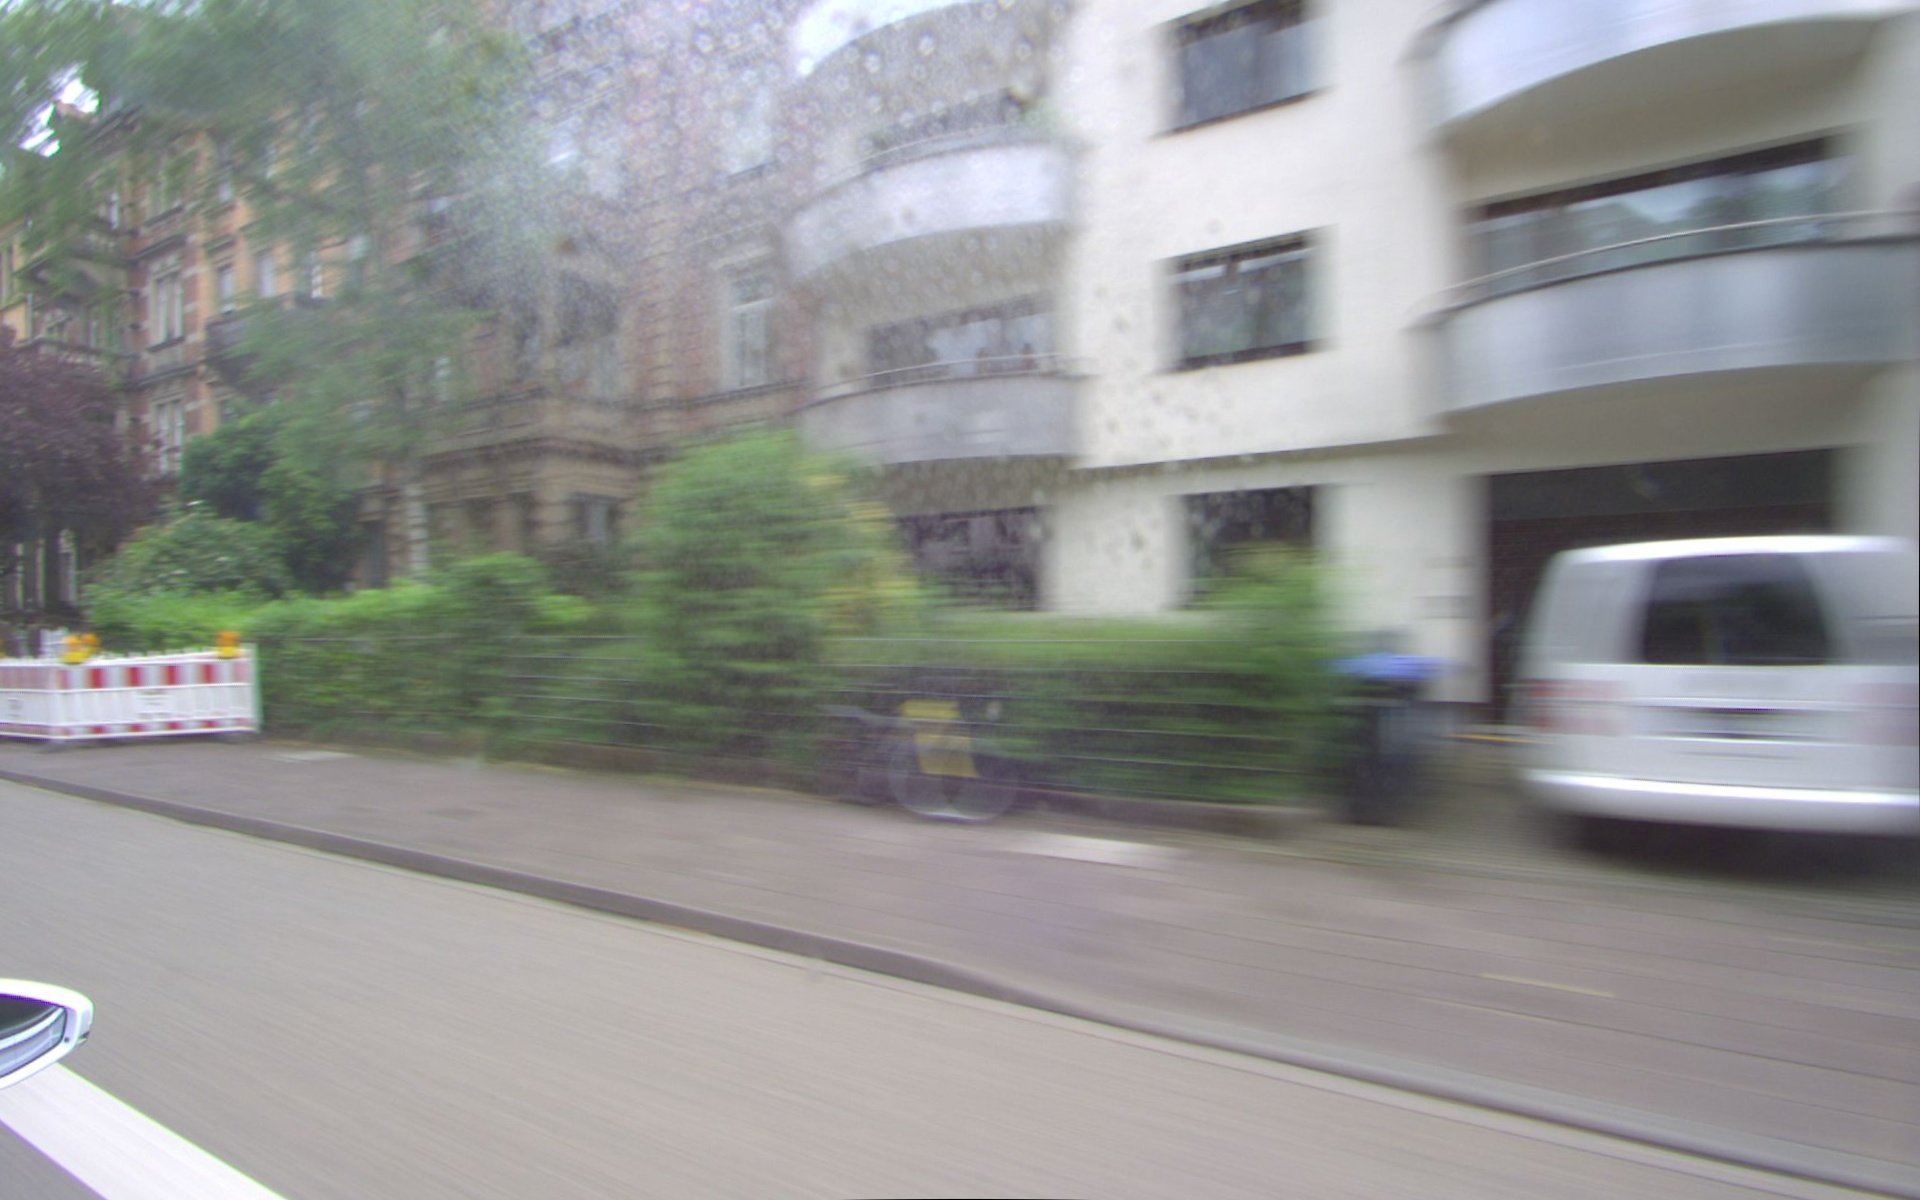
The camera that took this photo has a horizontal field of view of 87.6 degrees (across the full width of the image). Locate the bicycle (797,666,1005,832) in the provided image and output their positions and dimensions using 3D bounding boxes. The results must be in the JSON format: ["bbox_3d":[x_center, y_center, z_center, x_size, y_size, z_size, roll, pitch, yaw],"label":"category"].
[{"bbox_3d":[-0.454,1.042,7.338,1.510,1.059,0.478,-1,1,32],"label":"bicycle"}]

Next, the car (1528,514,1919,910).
[{"bbox_3d":[4.942,0.564,6.833,1.781,1.882,3.983,-1,-1,29],"label":"car"}]
